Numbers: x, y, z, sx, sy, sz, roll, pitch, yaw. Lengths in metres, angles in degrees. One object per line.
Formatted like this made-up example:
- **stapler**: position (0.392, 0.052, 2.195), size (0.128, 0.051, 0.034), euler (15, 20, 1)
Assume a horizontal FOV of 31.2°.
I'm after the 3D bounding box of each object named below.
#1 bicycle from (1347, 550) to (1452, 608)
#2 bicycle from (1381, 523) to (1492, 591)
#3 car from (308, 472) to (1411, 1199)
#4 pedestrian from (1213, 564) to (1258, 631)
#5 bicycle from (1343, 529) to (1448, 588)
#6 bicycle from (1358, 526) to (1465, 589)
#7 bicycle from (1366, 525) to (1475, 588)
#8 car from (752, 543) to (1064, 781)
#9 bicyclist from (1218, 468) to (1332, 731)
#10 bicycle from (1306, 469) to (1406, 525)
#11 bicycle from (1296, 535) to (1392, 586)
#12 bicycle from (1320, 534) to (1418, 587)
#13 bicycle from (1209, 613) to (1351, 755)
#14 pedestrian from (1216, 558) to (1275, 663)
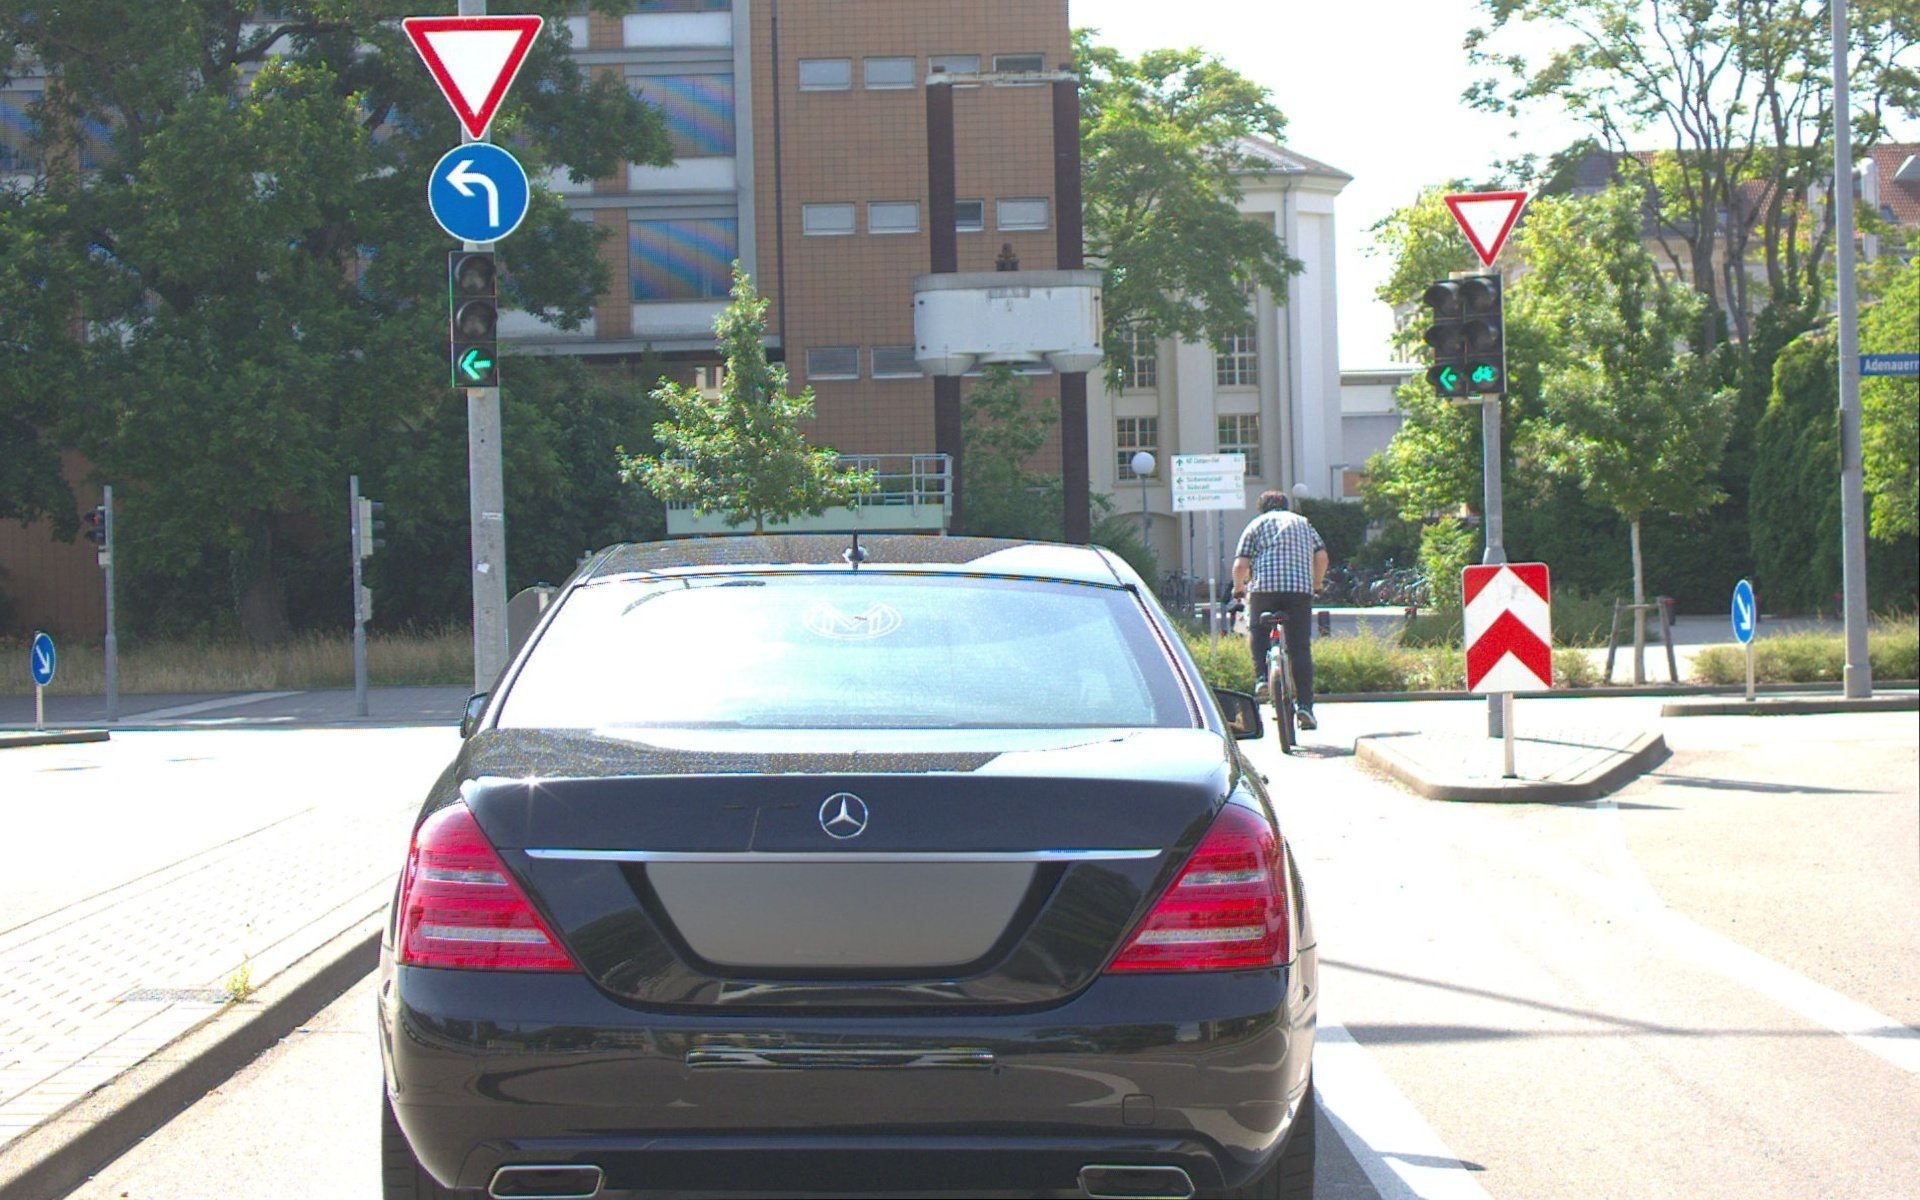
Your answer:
- **bicycle**: position (12.484, -0.606, 97.672), size (2.823, 1.532, 0.842), euler (-2, 1, -1)
- **bicycle**: position (12.927, -1.172, 93.313), size (2.823, 1.738, 0.842), euler (-2, 1, -1)
- **car**: position (-0.394, 0.533, 8.153), size (1.858, 1.525, 4.714), euler (0, 0, -6)
- **pedestrian**: position (5.066, -0.051, 63.248), size (0.793, 1.209, 0.757), euler (1, 0, 6)
- **bicycle**: position (12.278, -1.170, 96.980), size (2.823, 1.581, 0.842), euler (-2, 1, -1)
- **bicycle**: position (12.575, -1.192, 95.835), size (2.823, 1.653, 0.842), euler (-2, 2, -1)
- **bicycle**: position (12.683, -1.200, 94.749), size (2.823, 1.643, 0.842), euler (-2, 1, -1)
- **car**: position (-0.355, 0.382, 24.159), size (1.993, 1.503, 4.000), euler (1, 0, -1)
- **bicyclist**: position (2.275, -0.009, 24.903), size (0.685, 1.872, 0.860), euler (0, 0, -4)
- **bicycle**: position (11.775, -3.060, 102.208), size (2.823, 1.553, 0.842), euler (-2, 1, -1)
- **bicycle**: position (11.870, -1.235, 106.276), size (2.823, 1.475, 0.841), euler (-2, 1, 1)
- **bicycle**: position (12.382, -1.207, 104.077), size (2.823, 1.495, 0.842), euler (-2, 1, -1)
- **bicycle**: position (2.282, 0.585, 24.710), size (0.692, 0.943, 1.958), euler (1, 0, -4)
- **pedestrian**: position (4.374, 0.161, 52.724), size (0.811, 1.574, 0.692), euler (-2, 0, 2)
